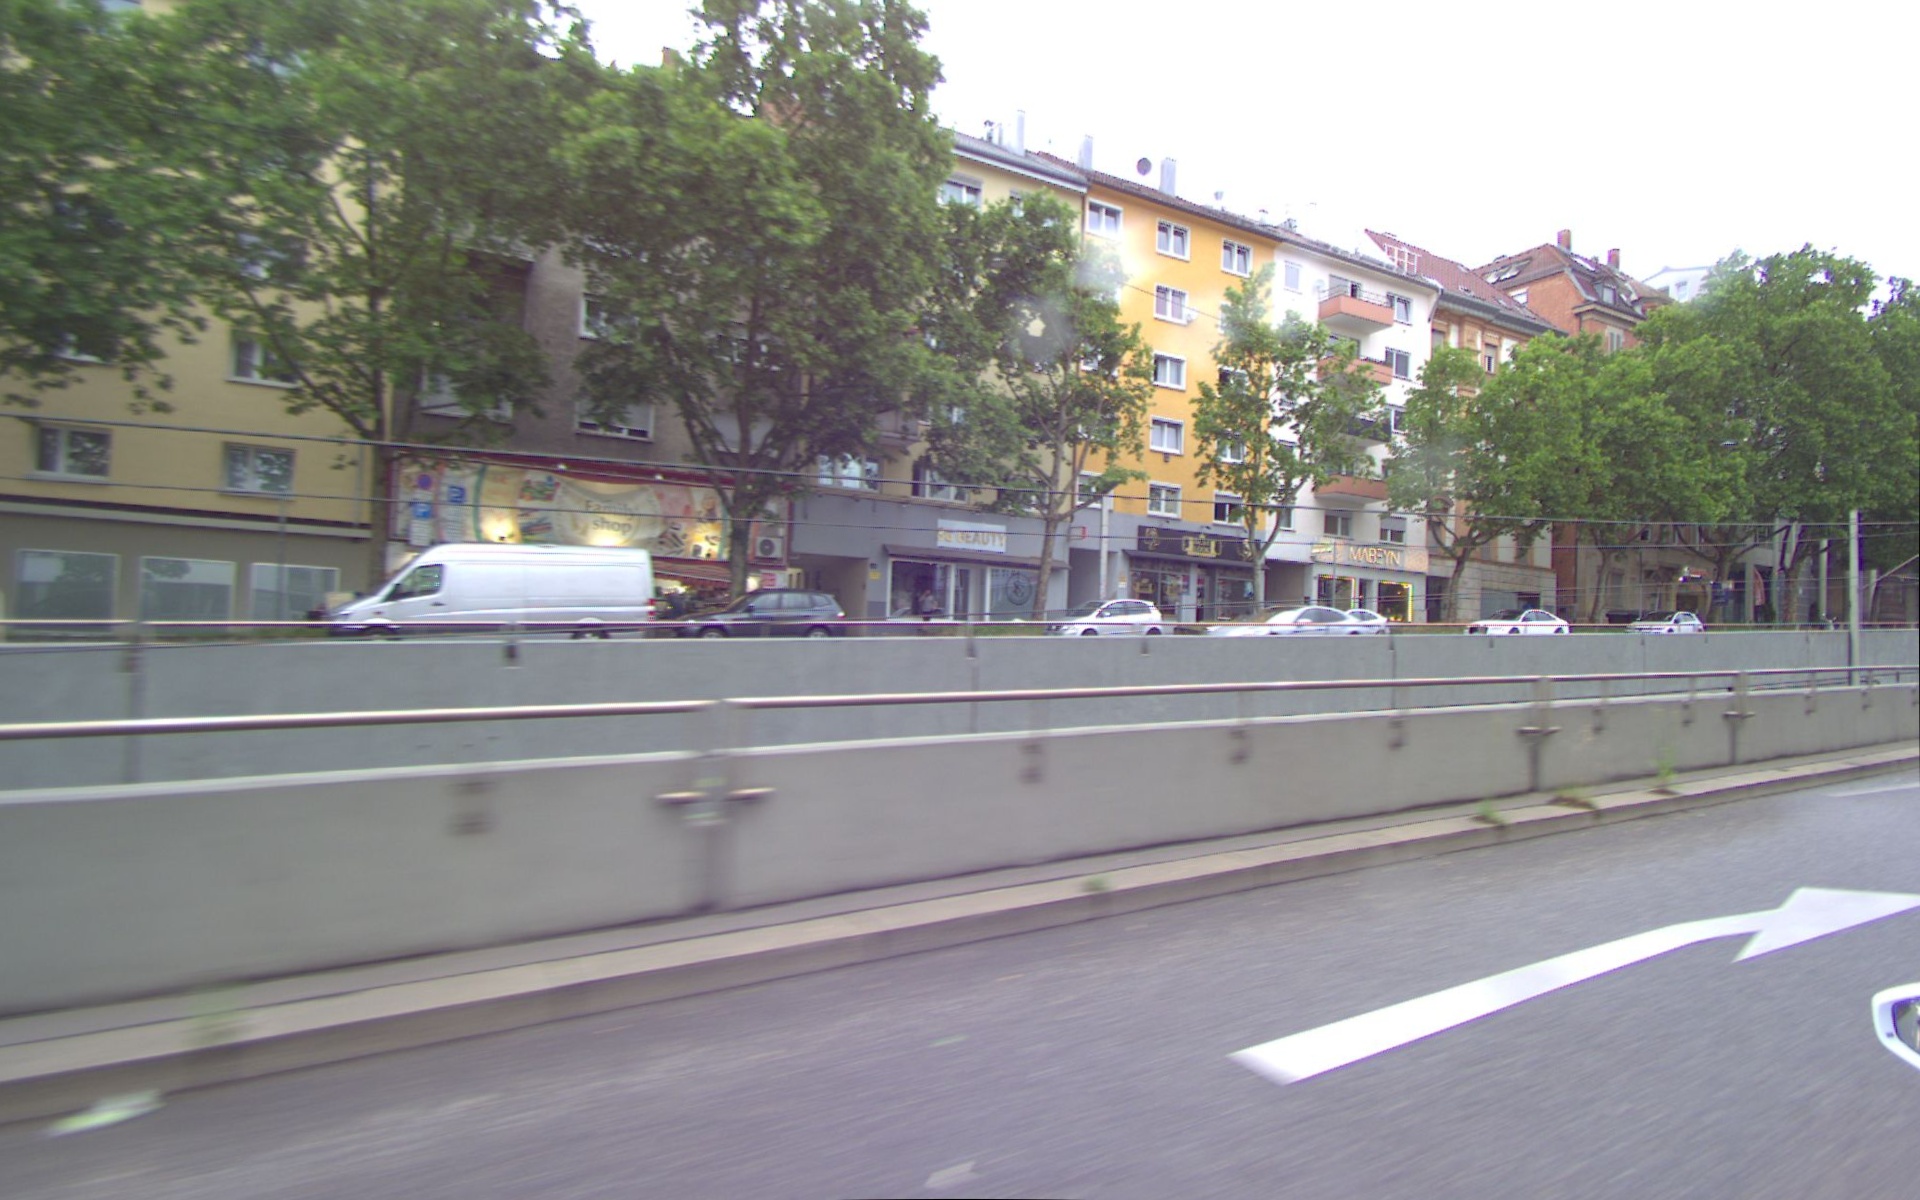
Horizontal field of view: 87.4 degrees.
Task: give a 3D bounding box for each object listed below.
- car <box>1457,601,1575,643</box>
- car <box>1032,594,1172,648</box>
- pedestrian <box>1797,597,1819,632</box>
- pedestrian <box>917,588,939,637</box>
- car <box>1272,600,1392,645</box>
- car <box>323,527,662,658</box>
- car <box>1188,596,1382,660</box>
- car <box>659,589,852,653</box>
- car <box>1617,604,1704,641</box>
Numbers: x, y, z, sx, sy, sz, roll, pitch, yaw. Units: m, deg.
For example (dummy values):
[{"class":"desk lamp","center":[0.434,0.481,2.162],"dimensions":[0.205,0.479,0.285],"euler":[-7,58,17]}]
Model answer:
[{"class":"car","center":[23.097,0.900,41.681],"dimensions":[5.137,1.622,1.918],"euler":[1,0,-30]},{"class":"car","center":[4.525,0.644,31.845],"dimensions":[4.156,1.592,1.786],"euler":[1,0,-29]},{"class":"pedestrian","center":[50.583,0.882,59.905],"dimensions":[0.923,2.040,0.666],"euler":[2,0,-27]},{"class":"pedestrian","center":[-1.178,0.461,36.853],"dimensions":[0.612,1.772,0.522],"euler":[1,2,-22]},{"class":"car","center":[13.487,0.803,36.385],"dimensions":[4.156,1.530,1.786],"euler":[1,0,-29]},{"class":"car","center":[-10.717,-0.133,23.462],"dimensions":[6.847,2.698,2.441],"euler":[1,0,-29]},{"class":"car","center":[8.437,0.696,25.999],"dimensions":[4.823,1.530,2.018],"euler":[1,0,-29]},{"class":"car","center":[-5.277,0.532,26.112],"dimensions":[4.615,1.530,1.786],"euler":[1,0,-29]},{"class":"car","center":[32.634,1.022,46.781],"dimensions":[4.063,1.633,1.786],"euler":[1,0,-30]}]
